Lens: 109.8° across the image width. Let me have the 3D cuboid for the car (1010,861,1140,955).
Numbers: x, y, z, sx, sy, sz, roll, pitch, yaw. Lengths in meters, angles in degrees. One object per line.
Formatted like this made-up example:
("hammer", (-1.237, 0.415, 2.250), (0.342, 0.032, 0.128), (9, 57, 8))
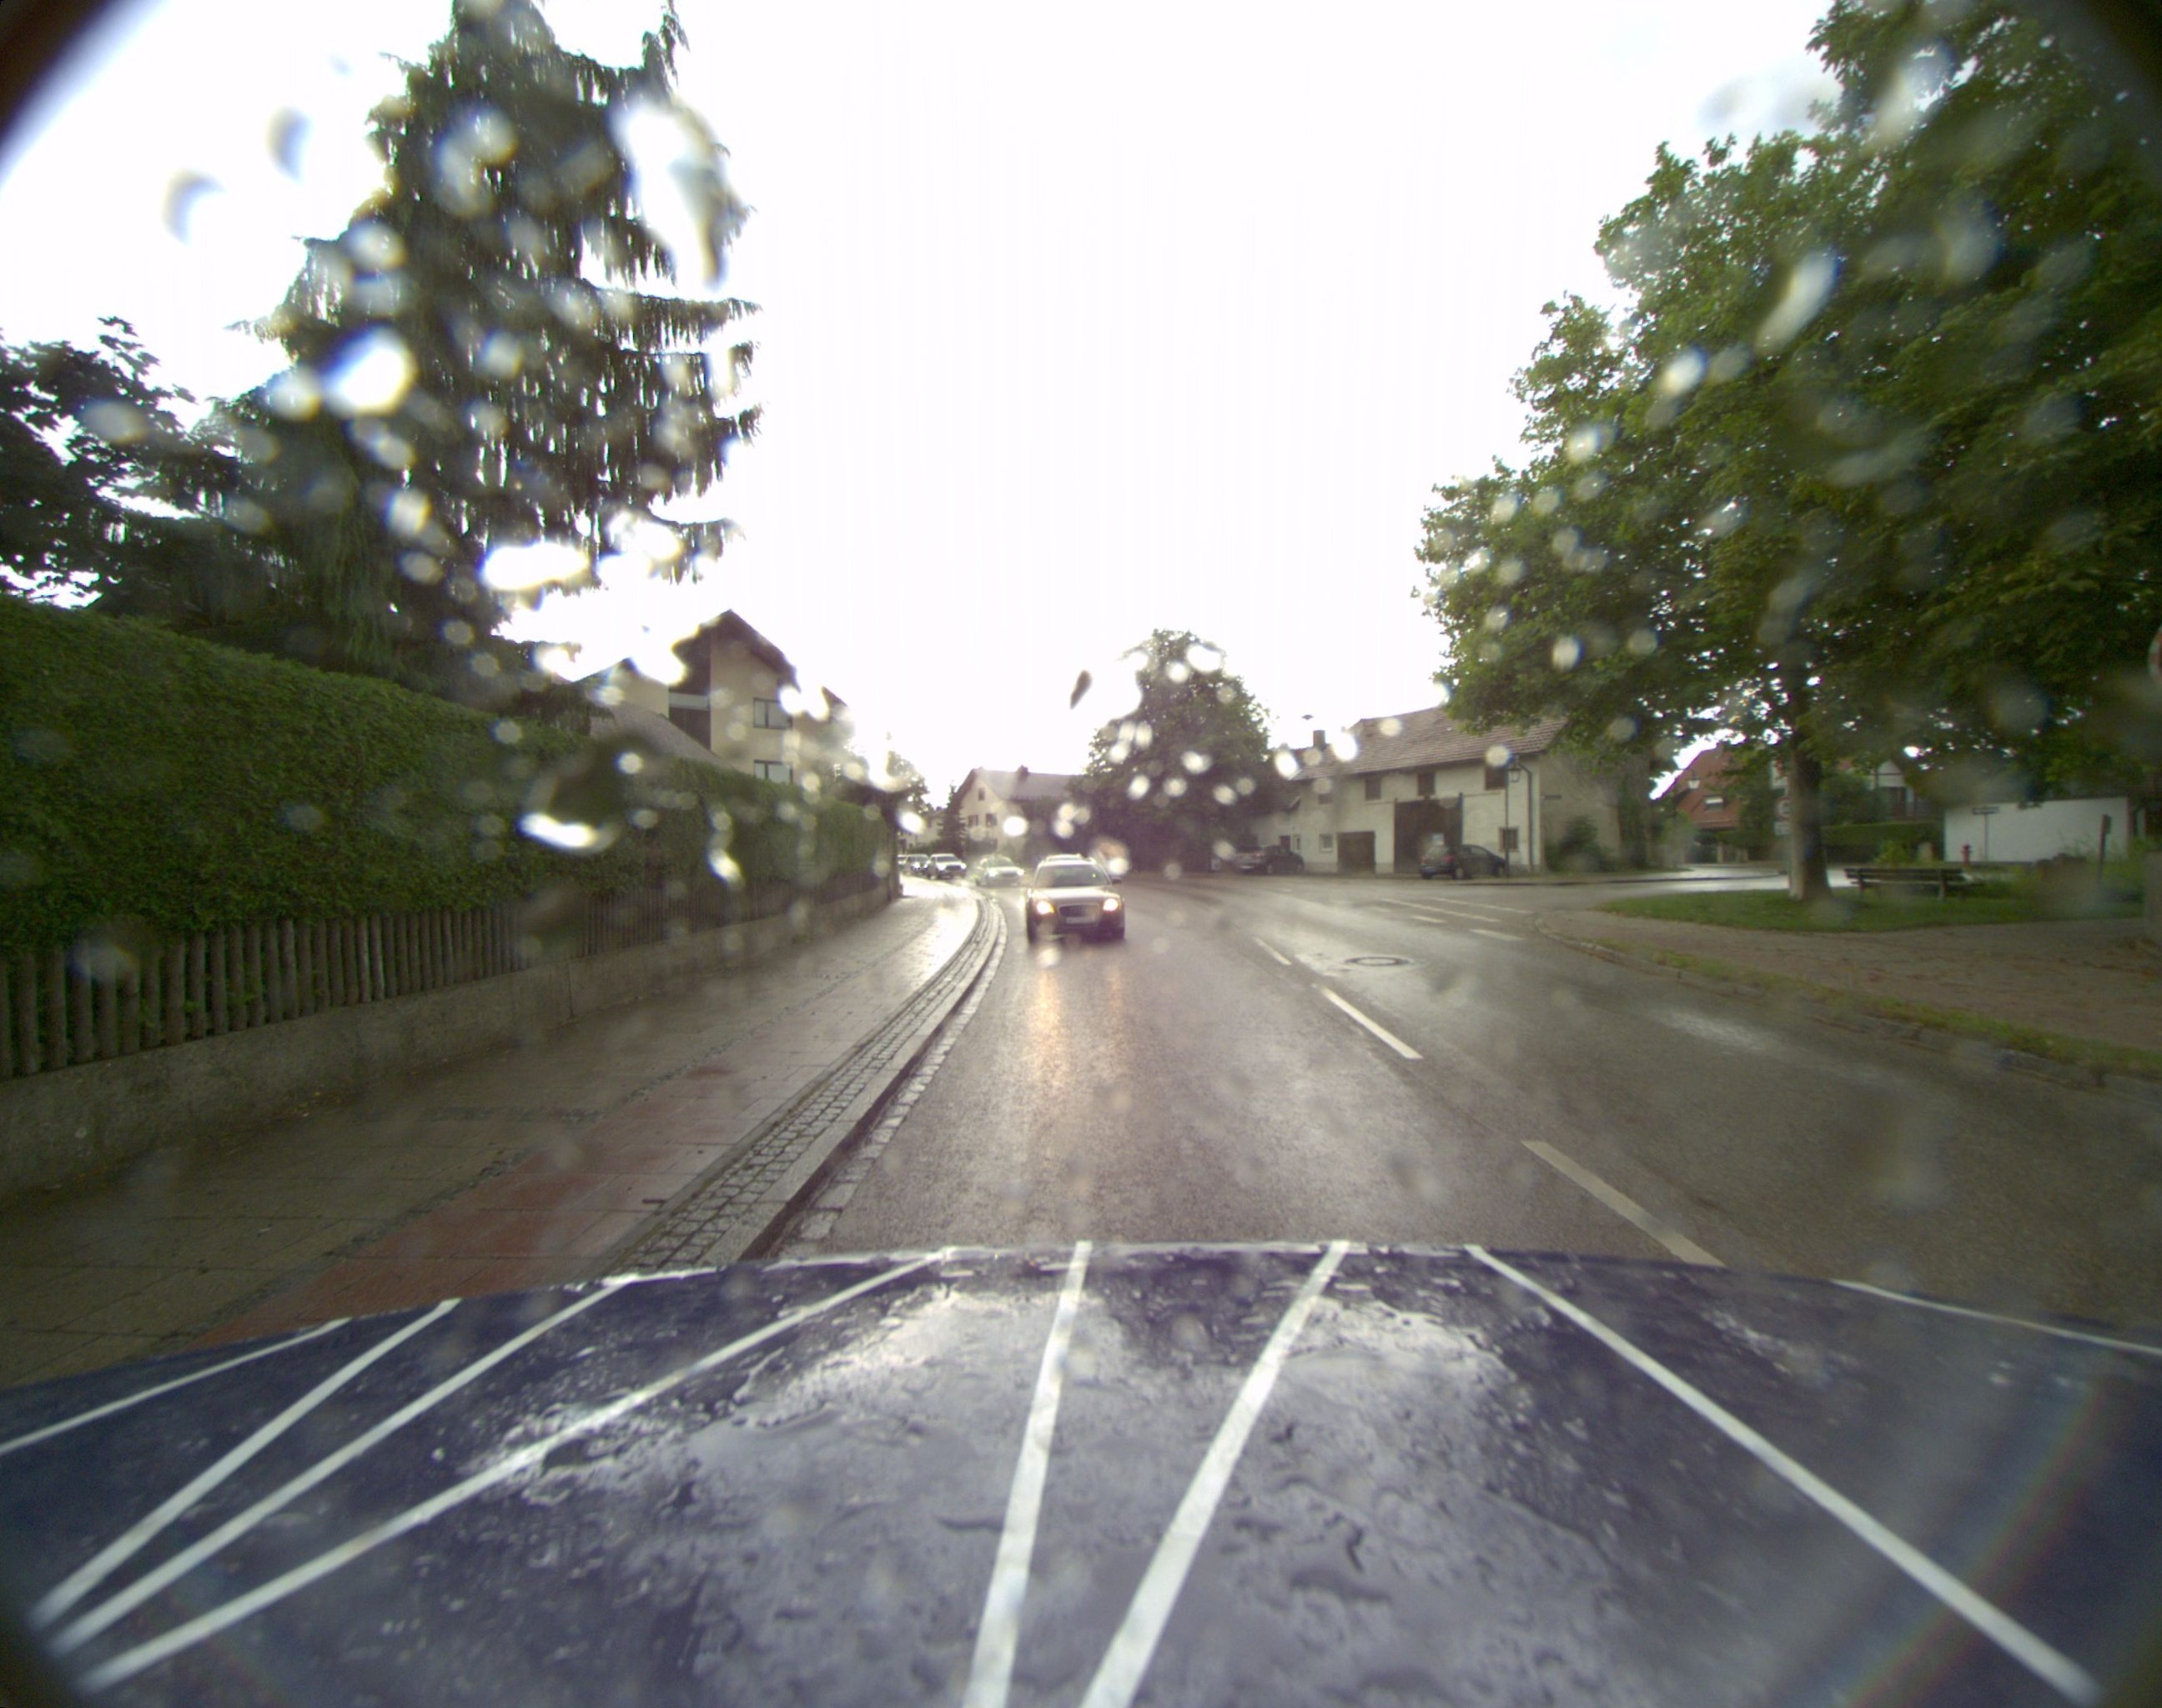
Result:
("car", (-0.283, 0.914, 14.818), (1.795, 1.387, 4.277), (-3, 1, -10))

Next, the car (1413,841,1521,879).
("car", (16.036, 0.213, 31.527), (4.287, 1.428, 1.817), (-2, 1, -28))

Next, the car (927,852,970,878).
("car", (-8.964, 0.714, 51.284), (1.797, 1.539, 4.272), (-3, 1, -24))

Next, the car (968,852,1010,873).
("car", (-7.101, 0.660, 58.364), (1.724, 1.434, 3.990), (-3, 1, -31))

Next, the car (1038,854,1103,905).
("car", (-0.477, 0.803, 26.743), (1.794, 1.471, 5.382), (-3, 1, -6))

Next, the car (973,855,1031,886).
("car", (-4.104, 0.808, 38.682), (1.797, 1.387, 4.273), (-3, 1, -21))

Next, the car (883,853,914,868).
("car", (-17.992, 0.616, 74.789), (1.626, 1.436, 3.661), (-3, 2, -35))

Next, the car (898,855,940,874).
("car", (-12.702, 0.819, 59.445), (1.798, 1.365, 4.270), (-4, 1, -33))

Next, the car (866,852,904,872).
("car", (-16.993, 0.703, 65.704), (1.798, 1.539, 4.270), (-4, 1, -33))

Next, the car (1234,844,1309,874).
("car", (10.237, 0.278, 40.599), (4.290, 1.539, 1.812), (0, 0, -42))

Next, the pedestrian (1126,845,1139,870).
("pedestrian", (3.315, 0.210, 48.998), (0.652, 1.619, 0.479), (-1, 1, 17))
